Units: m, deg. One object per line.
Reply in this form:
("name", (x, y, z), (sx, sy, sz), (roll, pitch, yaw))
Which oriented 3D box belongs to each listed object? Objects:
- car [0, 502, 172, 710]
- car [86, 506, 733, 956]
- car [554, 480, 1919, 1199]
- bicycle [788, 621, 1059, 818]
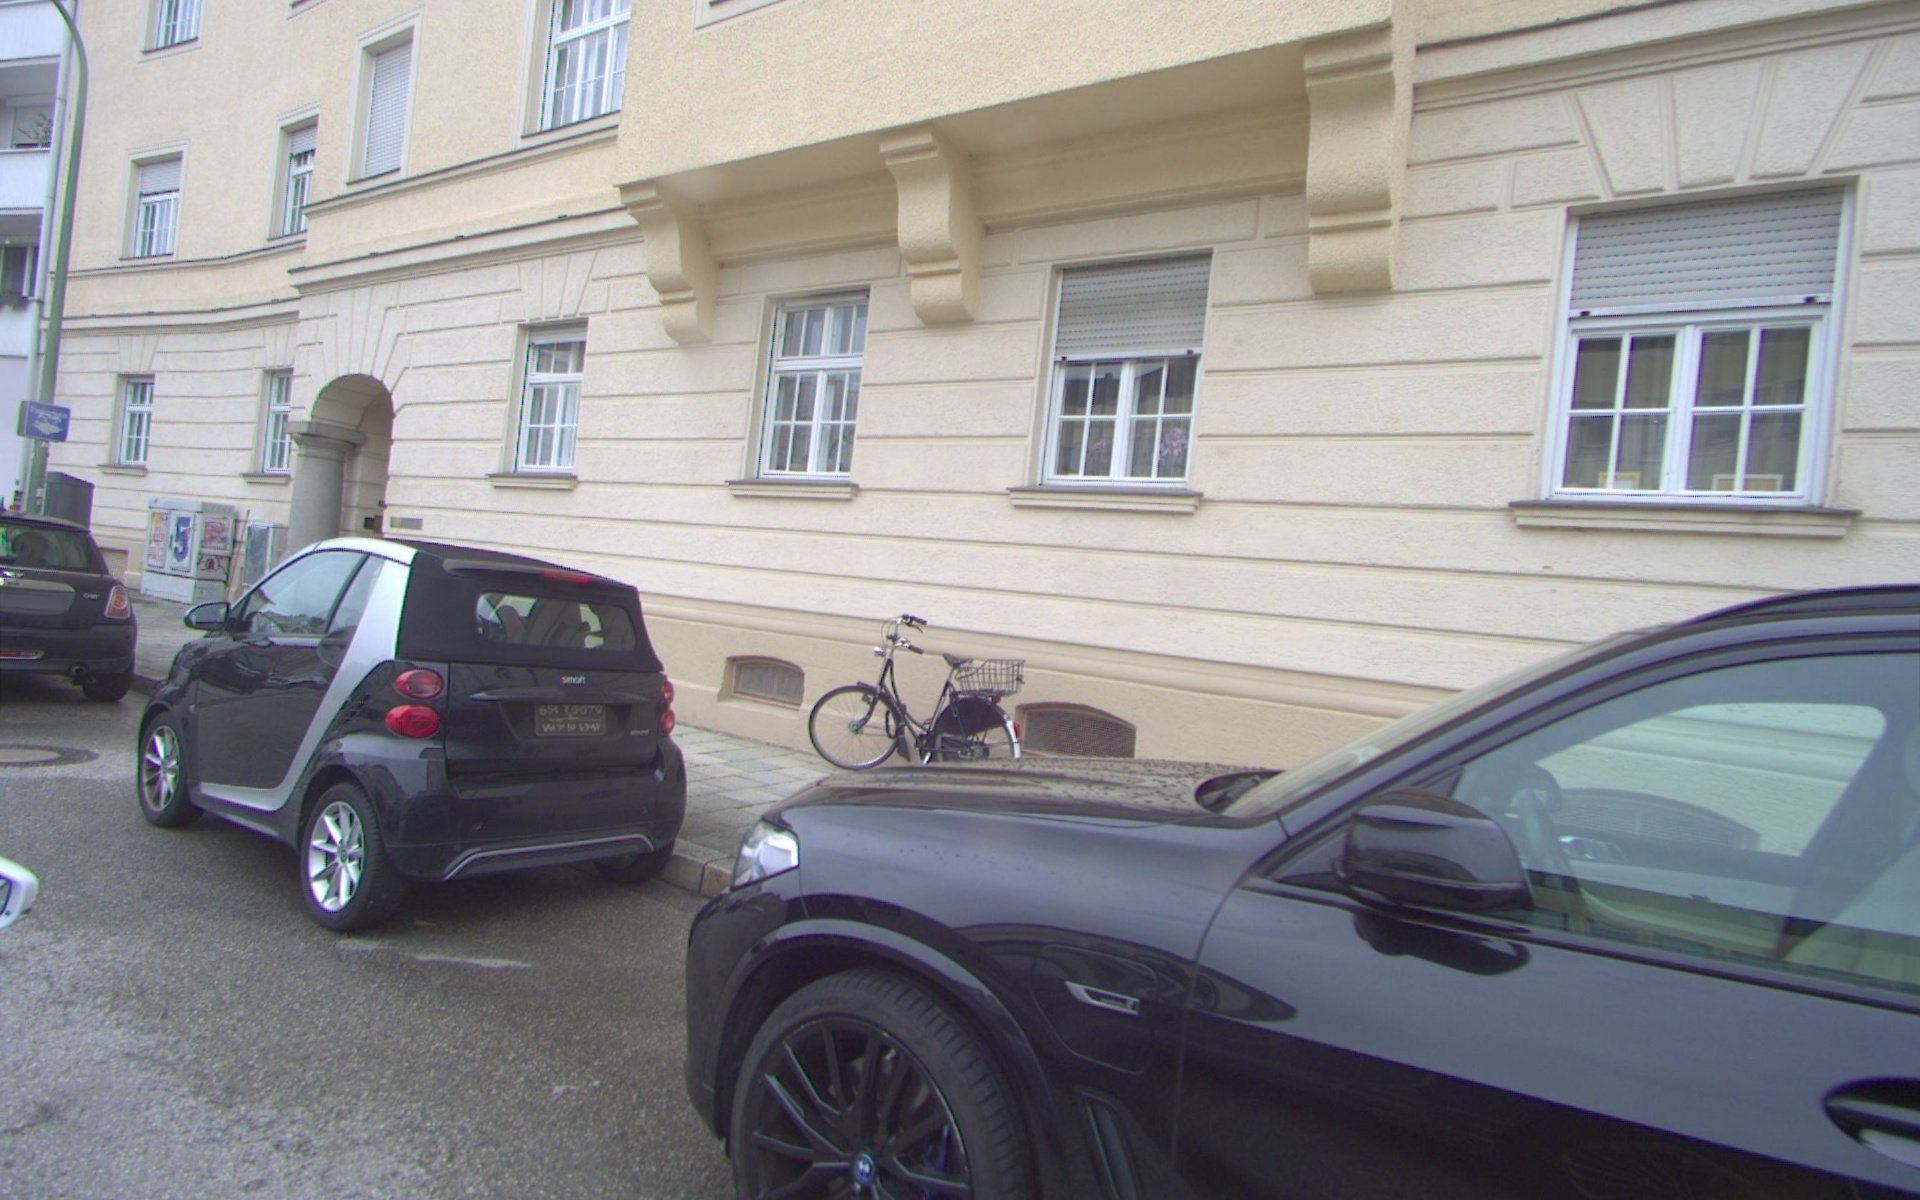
("car", (-8.330, -0.110, 8.279), (3.768, 1.464, 1.710), (6, -2, 34))
("car", (-2.881, 0.471, 5.140), (3.061, 1.541, 1.537), (6, -2, 34))
("car", (1.603, 0.870, 1.939), (4.786, 1.737, 1.872), (6, -2, 33))
("bicycle", (-0.310, 0.809, 7.369), (1.921, 1.097, 0.579), (7, 3, 33))
